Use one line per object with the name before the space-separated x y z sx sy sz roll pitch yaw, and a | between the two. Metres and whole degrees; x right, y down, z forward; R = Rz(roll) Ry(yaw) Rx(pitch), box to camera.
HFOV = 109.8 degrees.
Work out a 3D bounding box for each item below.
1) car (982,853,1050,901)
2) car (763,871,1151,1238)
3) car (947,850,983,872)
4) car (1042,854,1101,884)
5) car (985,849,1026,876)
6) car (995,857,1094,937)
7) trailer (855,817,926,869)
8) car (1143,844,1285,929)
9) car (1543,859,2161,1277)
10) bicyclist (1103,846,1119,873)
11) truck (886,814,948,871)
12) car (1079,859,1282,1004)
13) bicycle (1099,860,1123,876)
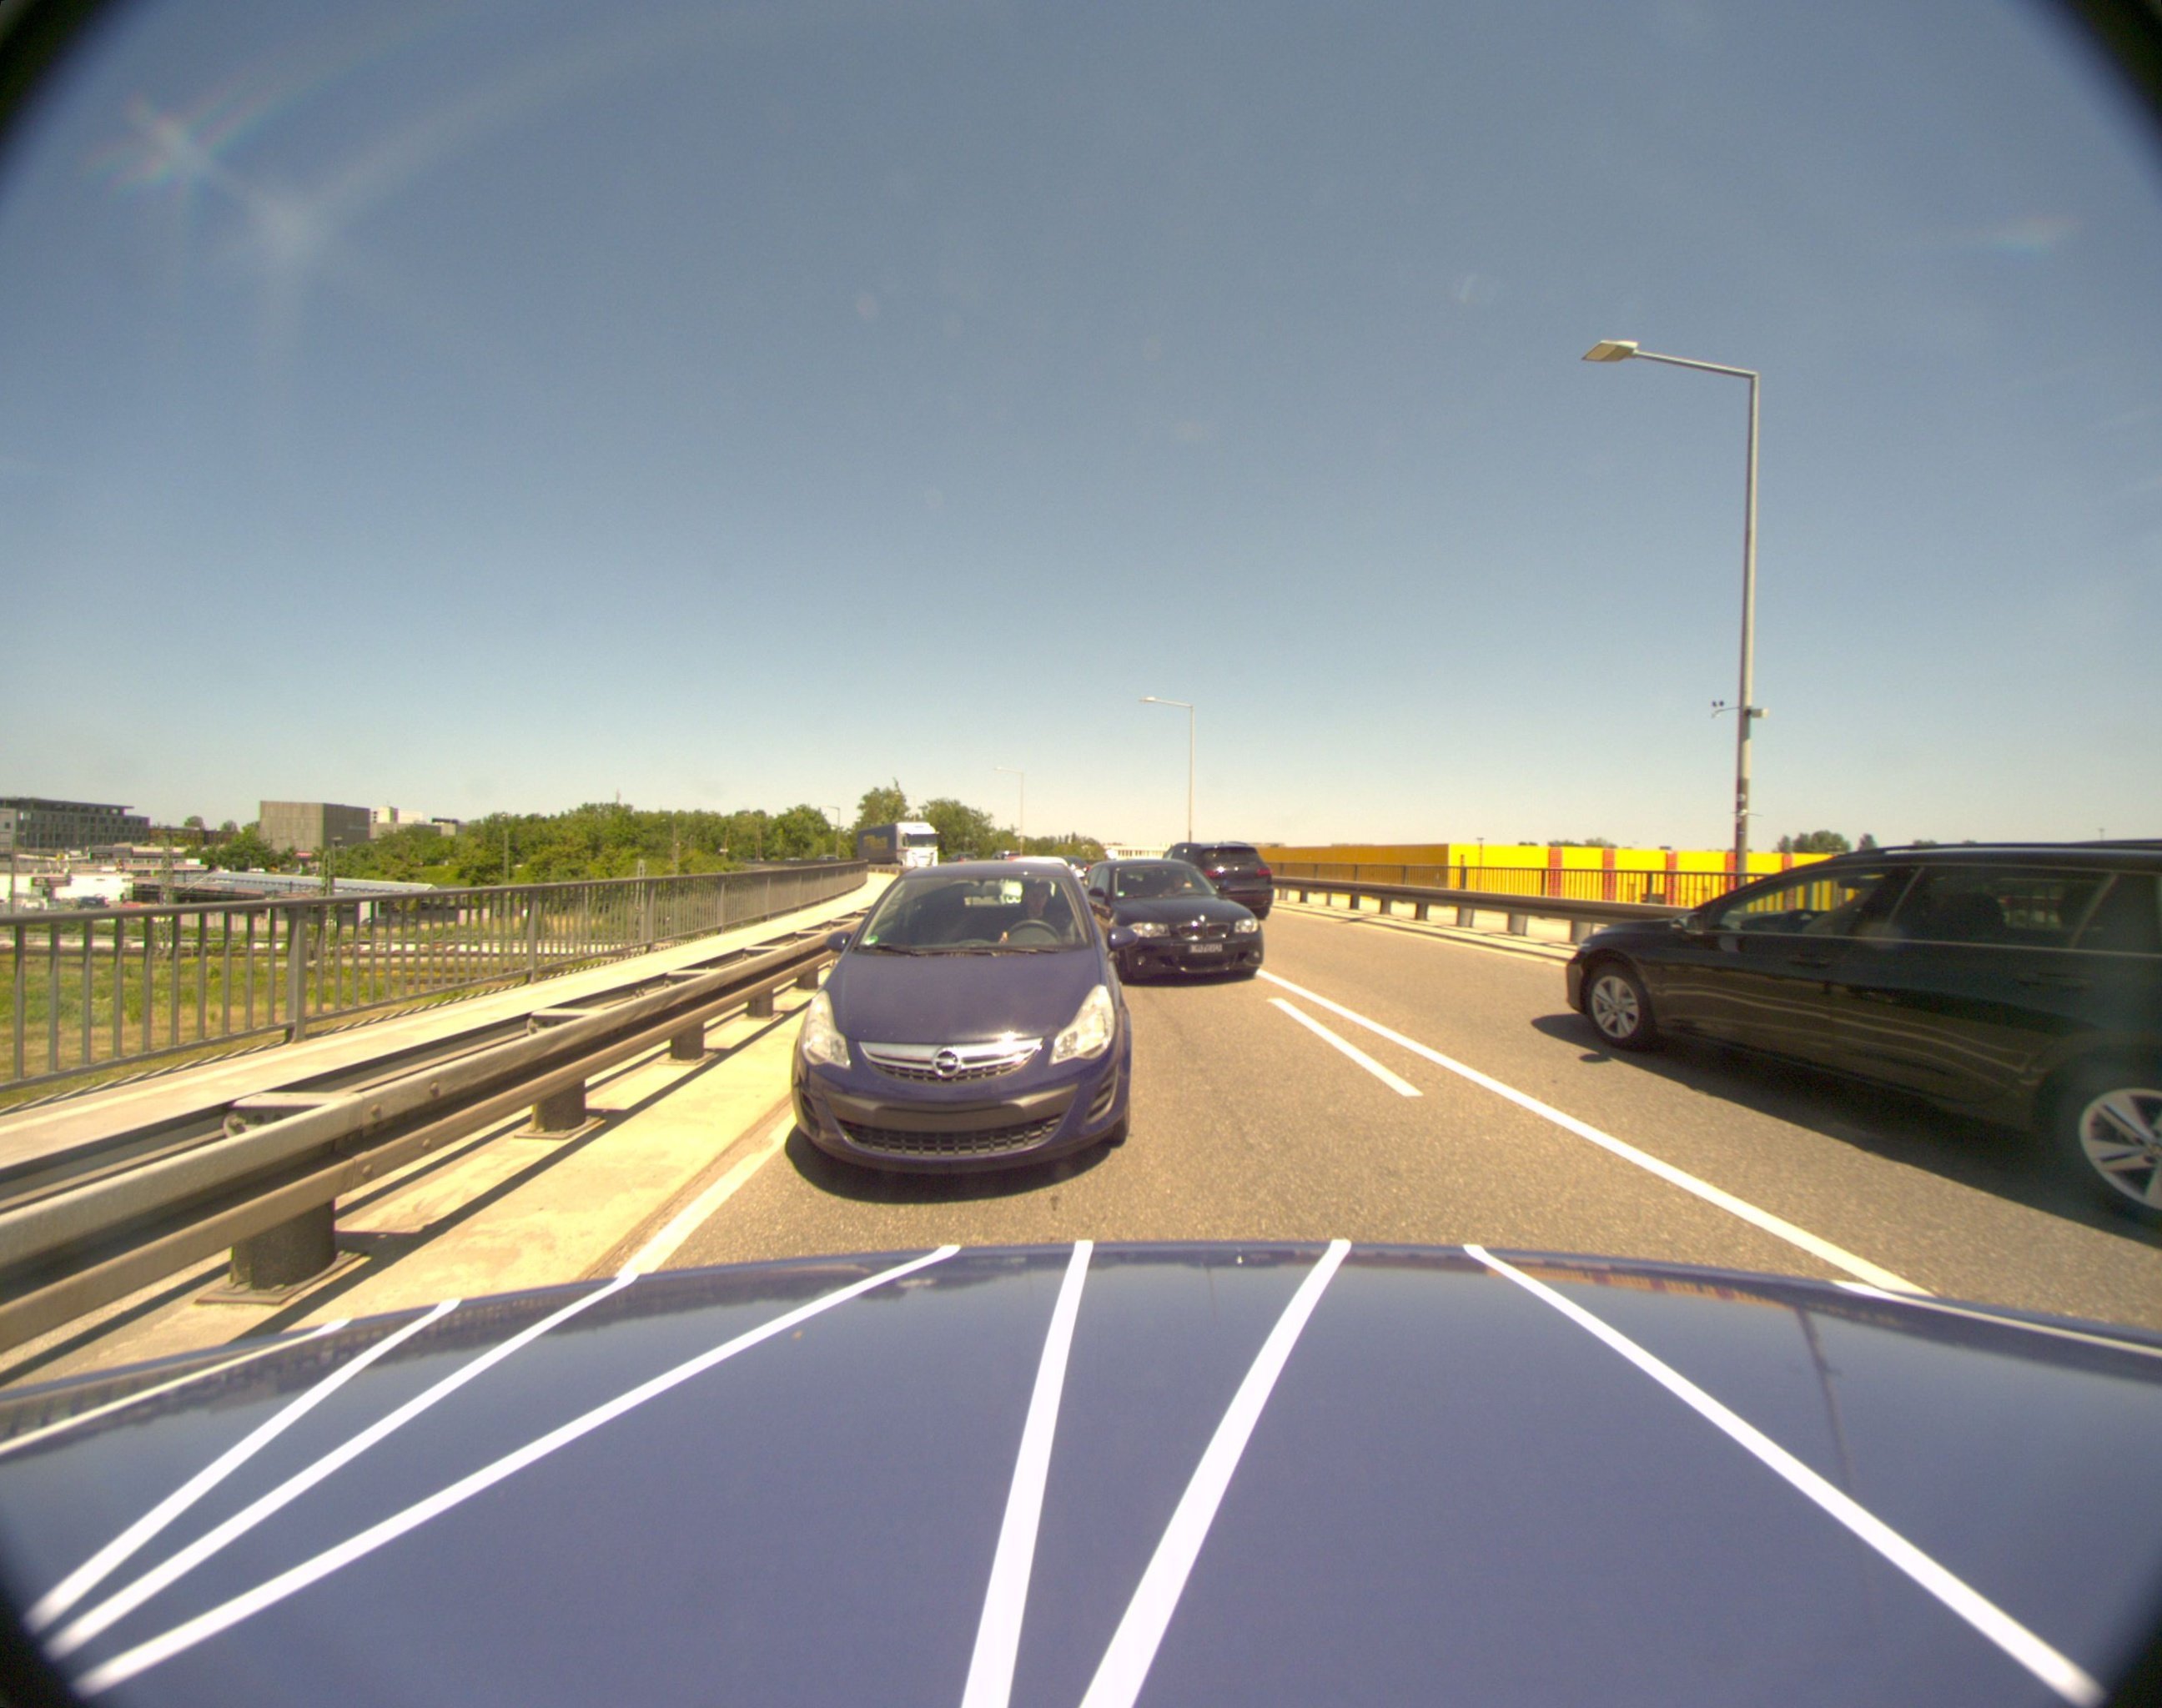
car | -2.349 0.721 26.486 1.796 1.446 4.518 -2 0 -11
car | -0.650 0.914 5.329 1.645 1.431 3.998 -2 1 -4
car | -9.296 0.522 60.661 1.809 1.631 4.292 -1 1 -23
car | -0.496 0.654 35.718 1.685 1.300 3.967 -1 0 -17
car | -5.028 0.497 49.848 1.713 1.617 4.245 -2 2 -19
car | -0.946 0.838 16.969 1.795 1.447 4.519 -2 1 -7
trailer | -17.075 -0.945 67.294 2.706 4.211 12.682 -3 2 -29
car | 2.893 0.641 17.684 1.972 1.663 4.610 -1 1 -7
car | 4.722 0.794 3.941 1.715 1.460 4.458 -1 0 -4
bicyclist | 1.663 0.296 42.095 0.585 1.512 0.894 -1 1 -21
truck | -13.043 -0.924 60.069 2.700 4.205 6.823 -3 2 -29
car | 1.079 0.846 10.456 1.795 1.447 4.520 -1 1 -5
bicycle | 1.662 0.752 42.109 0.590 0.828 1.987 -1 1 -21
